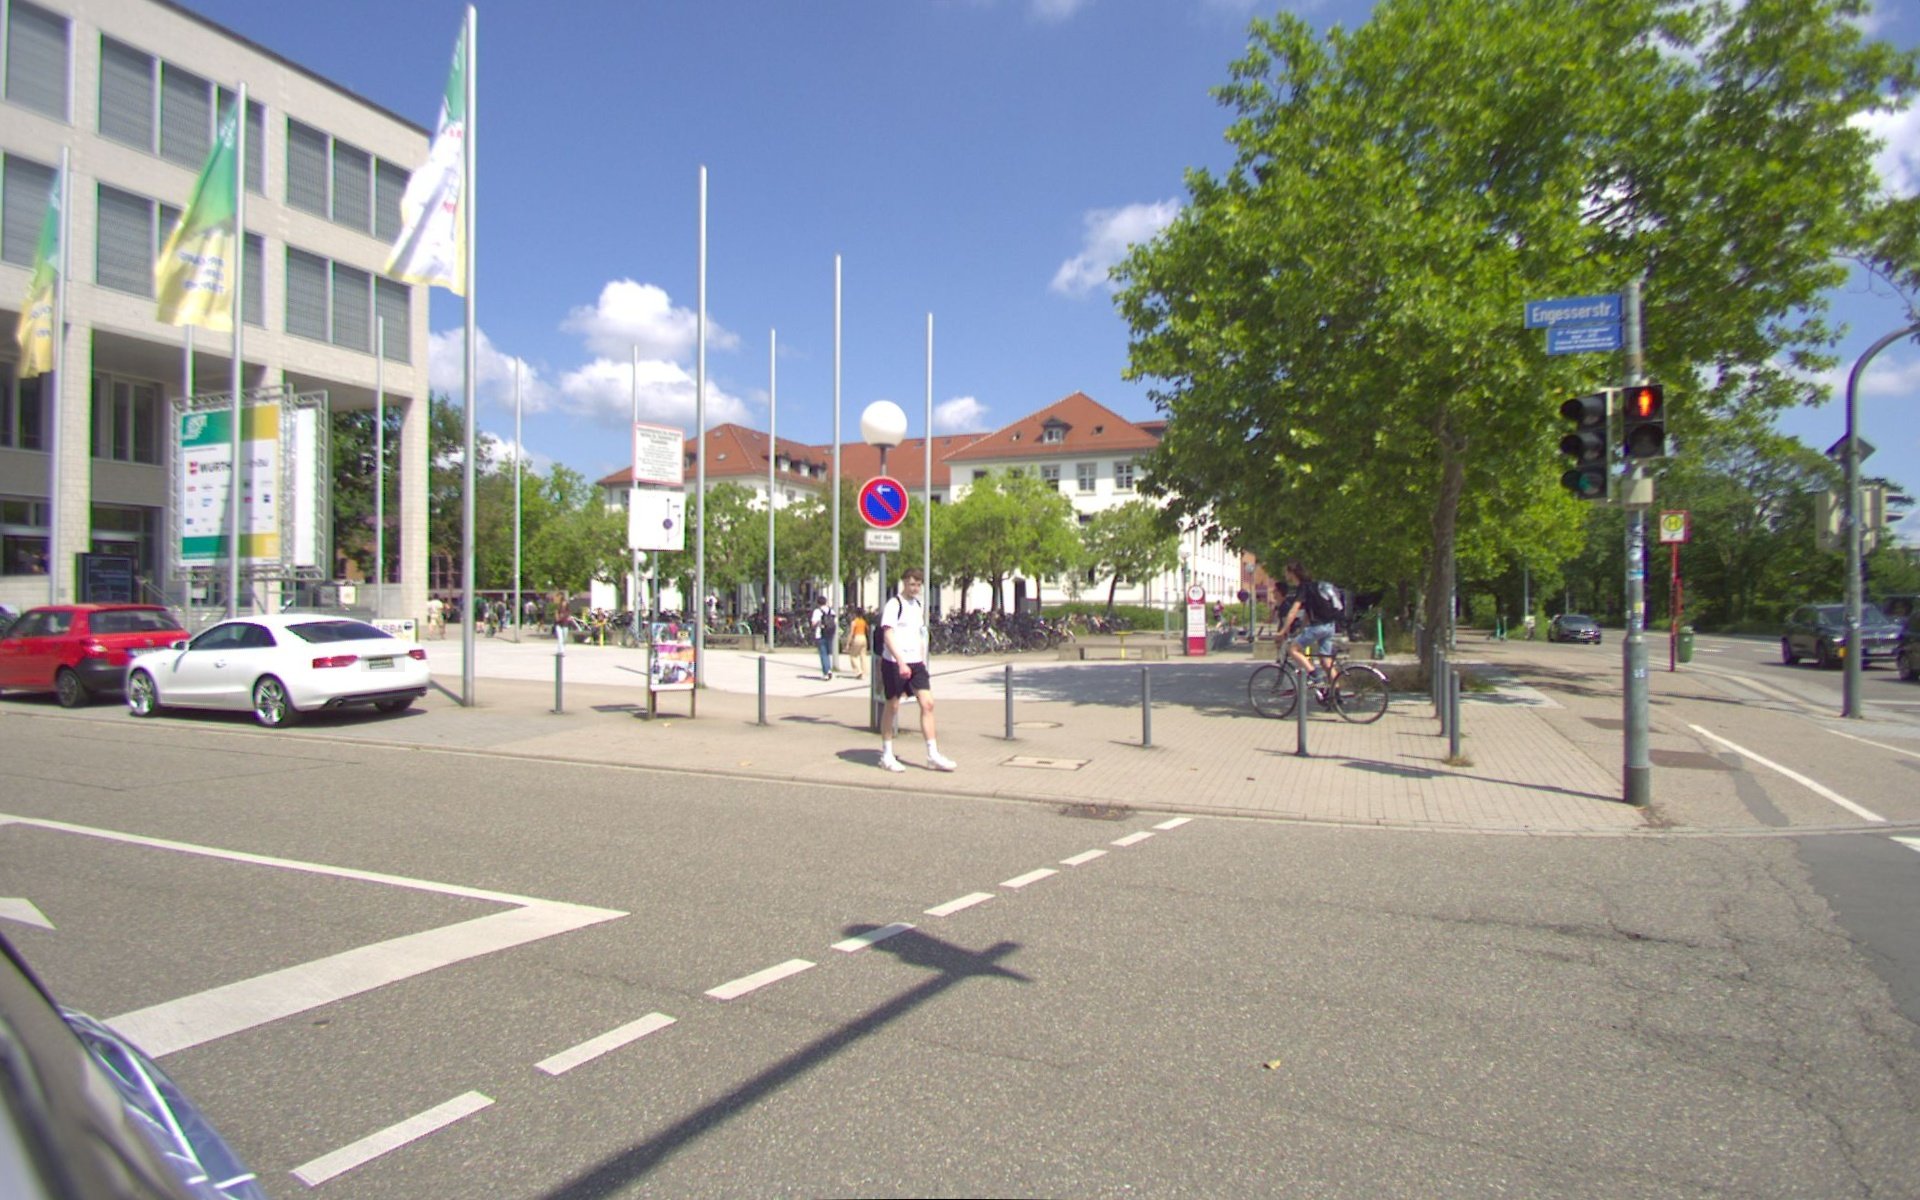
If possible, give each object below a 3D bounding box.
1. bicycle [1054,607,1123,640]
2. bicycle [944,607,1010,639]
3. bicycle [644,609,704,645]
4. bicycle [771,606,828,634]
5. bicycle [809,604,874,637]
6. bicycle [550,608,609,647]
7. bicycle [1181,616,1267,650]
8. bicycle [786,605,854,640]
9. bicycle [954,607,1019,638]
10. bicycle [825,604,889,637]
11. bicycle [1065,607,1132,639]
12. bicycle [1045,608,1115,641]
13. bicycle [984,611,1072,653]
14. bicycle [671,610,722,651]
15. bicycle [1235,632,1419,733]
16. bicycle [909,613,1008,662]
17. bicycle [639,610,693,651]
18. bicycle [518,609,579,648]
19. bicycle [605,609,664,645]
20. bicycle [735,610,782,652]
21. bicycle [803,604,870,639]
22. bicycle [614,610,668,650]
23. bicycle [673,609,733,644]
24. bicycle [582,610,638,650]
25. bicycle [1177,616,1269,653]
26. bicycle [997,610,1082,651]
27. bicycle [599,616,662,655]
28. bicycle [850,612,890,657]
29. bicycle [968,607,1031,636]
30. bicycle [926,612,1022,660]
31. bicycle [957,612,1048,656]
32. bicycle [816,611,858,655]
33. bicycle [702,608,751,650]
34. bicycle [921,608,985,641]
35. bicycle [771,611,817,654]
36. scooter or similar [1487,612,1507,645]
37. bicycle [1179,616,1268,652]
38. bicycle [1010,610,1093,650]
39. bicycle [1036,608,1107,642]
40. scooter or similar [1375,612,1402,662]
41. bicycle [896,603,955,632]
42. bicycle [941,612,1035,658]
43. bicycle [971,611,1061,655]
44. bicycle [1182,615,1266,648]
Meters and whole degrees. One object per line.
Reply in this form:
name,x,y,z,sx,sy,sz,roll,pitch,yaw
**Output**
bicycle,5.883,1.057,46.363,2.937,1.422,1.055,0,0,28
bicycle,0.792,1.060,47.119,2.931,1.422,1.058,0,0,22
bicycle,-11.966,1.098,42.301,1.131,1.422,2.953,0,0,-45
bicycle,-8.424,1.046,53.120,2.941,1.422,1.136,0,0,31
bicycle,-5.307,0.908,45.114,2.944,1.422,1.053,0,0,34
bicycle,-14.544,1.031,38.763,1.132,1.422,2.951,0,0,0
bicycle,9.361,1.156,35.970,2.925,1.146,0.996,0,0,16
bicycle,-5.952,0.918,42.864,2.944,1.422,1.053,0,0,34
bicycle,1.270,1.054,48.361,2.931,1.422,1.058,0,0,22
bicycle,-4.708,0.903,46.046,2.944,1.422,1.053,0,0,34
bicycle,6.495,1.051,47.500,2.937,1.422,1.055,0,0,28
bicycle,5.349,1.063,45.261,2.937,1.422,1.055,0,0,28
bicycle,2.397,1.107,35.907,2.937,1.422,1.055,0,0,28
bicycle,-9.773,1.115,37.679,1.132,1.422,2.951,0,0,0
bicycle,4.502,0.972,12.480,2.020,1.131,0.764,-1,-1,33
bicycle,-0.047,1.127,31.156,2.937,1.430,1.008,0,0,28
bicycle,-10.980,1.116,37.928,1.132,1.422,2.951,0,0,0
bicycle,-15.719,1.061,38.806,1.132,1.422,2.951,0,0,0
bicycle,-13.570,1.100,42.152,1.131,1.422,2.953,0,0,-45
bicycle,-7.342,1.115,37.105,1.132,1.422,2.951,0,0,0
bicycle,-5.355,0.913,43.811,2.944,1.422,1.053,0,0,34
bicycle,-12.166,1.114,38.731,1.132,1.422,2.951,0,0,0
bicycle,-10.947,1.093,43.014,1.131,1.422,2.953,0,0,-45
bicycle,-13.365,1.115,38.734,1.132,1.422,2.951,0,0,0
bicycle,8.710,1.137,33.575,2.925,1.156,0.996,0,0,16
bicycle,2.901,1.102,36.884,2.937,1.422,1.055,0,0,28
bicycle,-10.833,1.167,33.265,2.081,1.225,0.646,0,0,24
bicycle,-2.989,1.123,33.957,1.051,1.422,2.951,0,0,0
bicycle,1.953,1.045,50.249,2.931,1.422,1.205,0,0,22
bicycle,0.435,1.124,32.099,2.937,1.427,1.008,0,0,28
bicycle,1.424,1.117,33.977,2.937,1.422,1.008,0,0,28
bicycle,-4.282,1.118,35.478,1.132,1.422,2.951,0,0,0
bicycle,-8.530,1.031,37.154,1.132,1.422,2.951,0,0,0
bicycle,-0.325,1.068,45.729,2.950,1.422,1.051,0,0,42
bicycle,-5.842,1.118,35.829,1.132,1.422,2.951,0,0,0
scooter or similar,26.127,1.364,49.242,0.728,1.550,2.630,-1,-1,25
bicycle,9.079,1.155,34.928,2.925,1.156,0.996,0,0,16
bicycle,3.412,1.097,37.885,2.937,1.422,1.055,0,0,28
bicycle,4.849,1.068,44.149,2.937,1.422,1.055,0,0,28
scooter or similar,10.926,0.920,25.834,0.489,1.205,1.724,0,-1,18
bicycle,-1.773,0.875,51.532,2.941,1.422,1.054,0,0,32
bicycle,0.906,1.122,33.042,2.937,1.422,1.008,0,0,28
bicycle,1.911,1.112,34.915,2.937,1.422,1.055,0,0,28
bicycle,9.670,1.130,37.133,2.924,1.158,0.996,0,0,15
